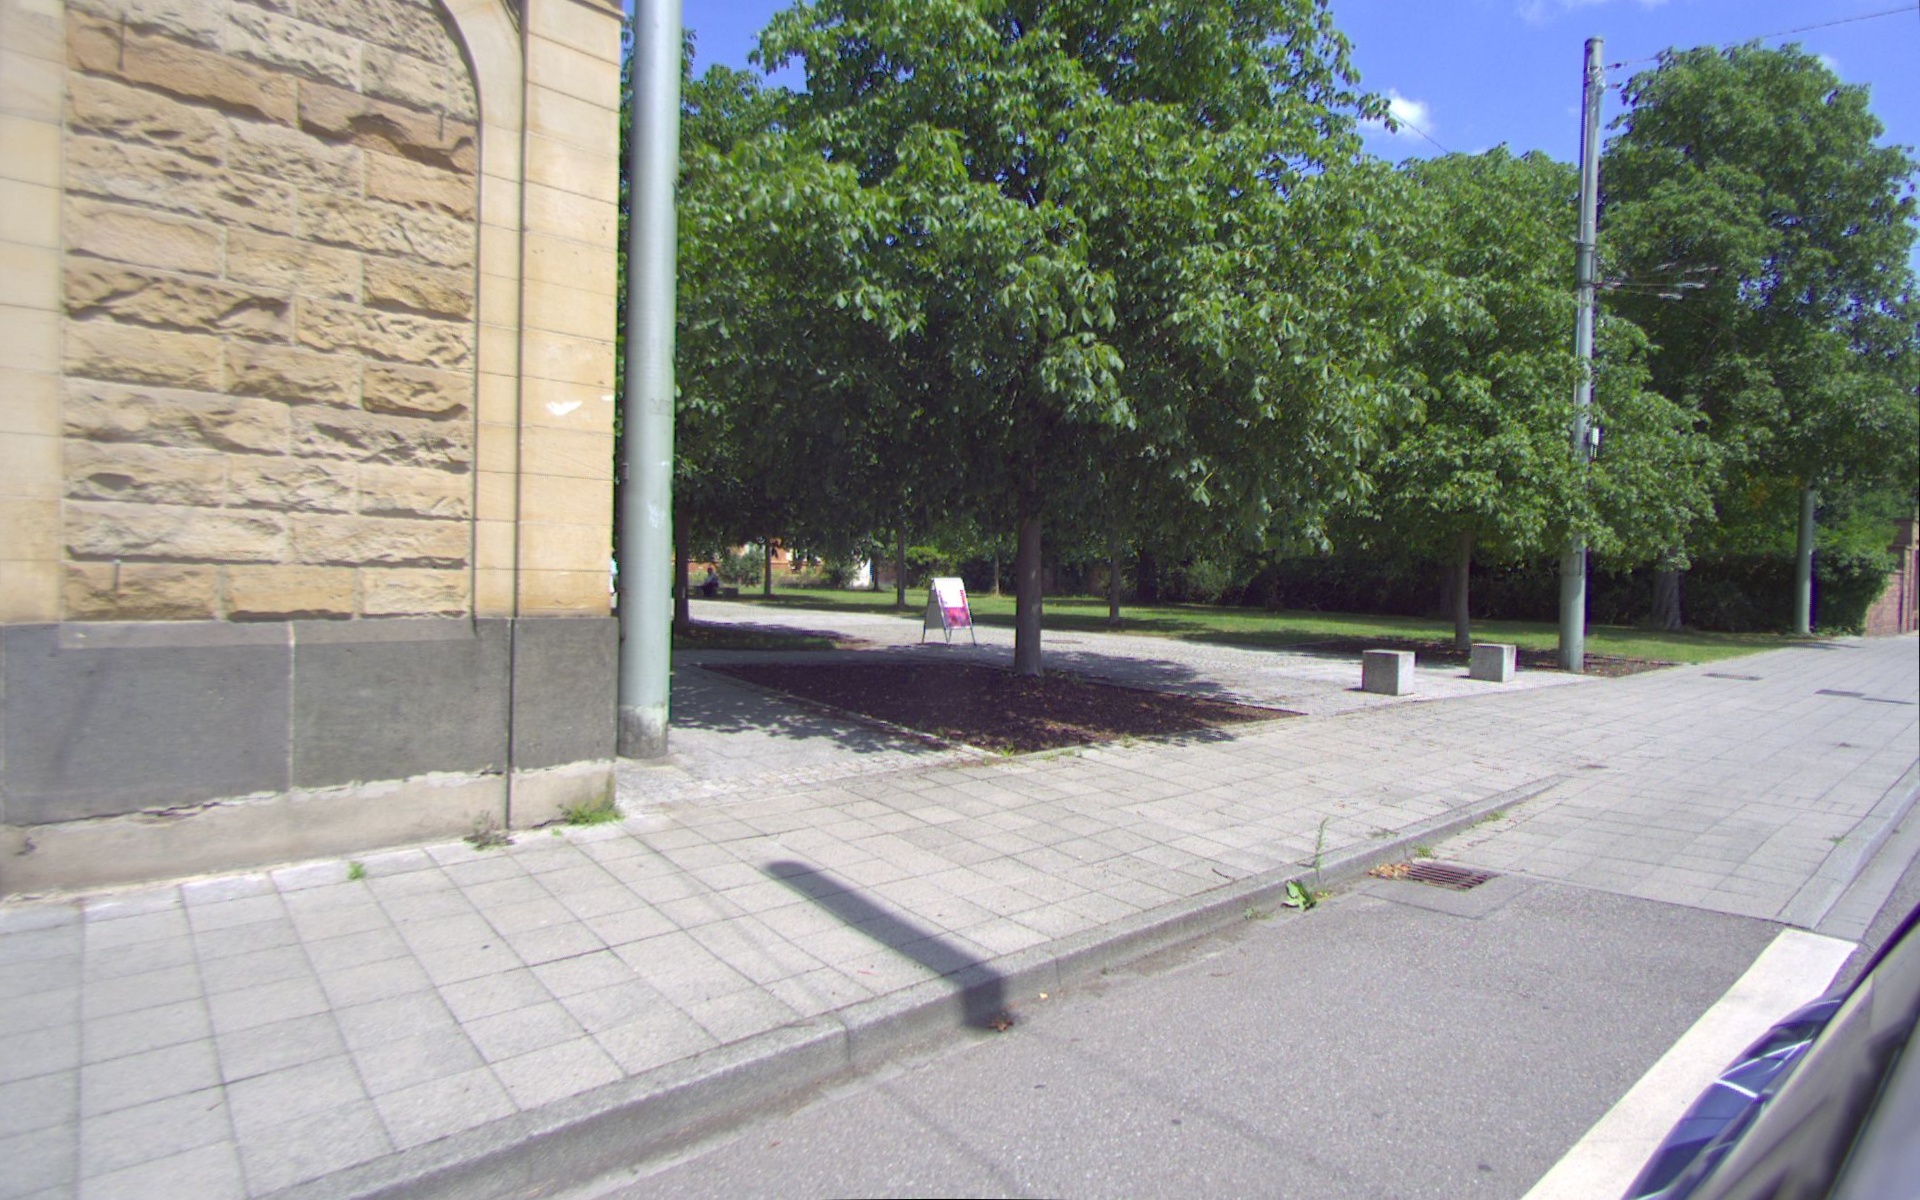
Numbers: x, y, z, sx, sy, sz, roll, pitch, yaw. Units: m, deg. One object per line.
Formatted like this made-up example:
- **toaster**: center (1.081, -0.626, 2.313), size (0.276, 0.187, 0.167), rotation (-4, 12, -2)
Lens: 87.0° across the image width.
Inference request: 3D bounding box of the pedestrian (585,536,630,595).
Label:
- **pedestrian**: center (-12.487, -1.237, 35.853), size (0.820, 2.038, 1.242), rotation (4, 4, 37)
